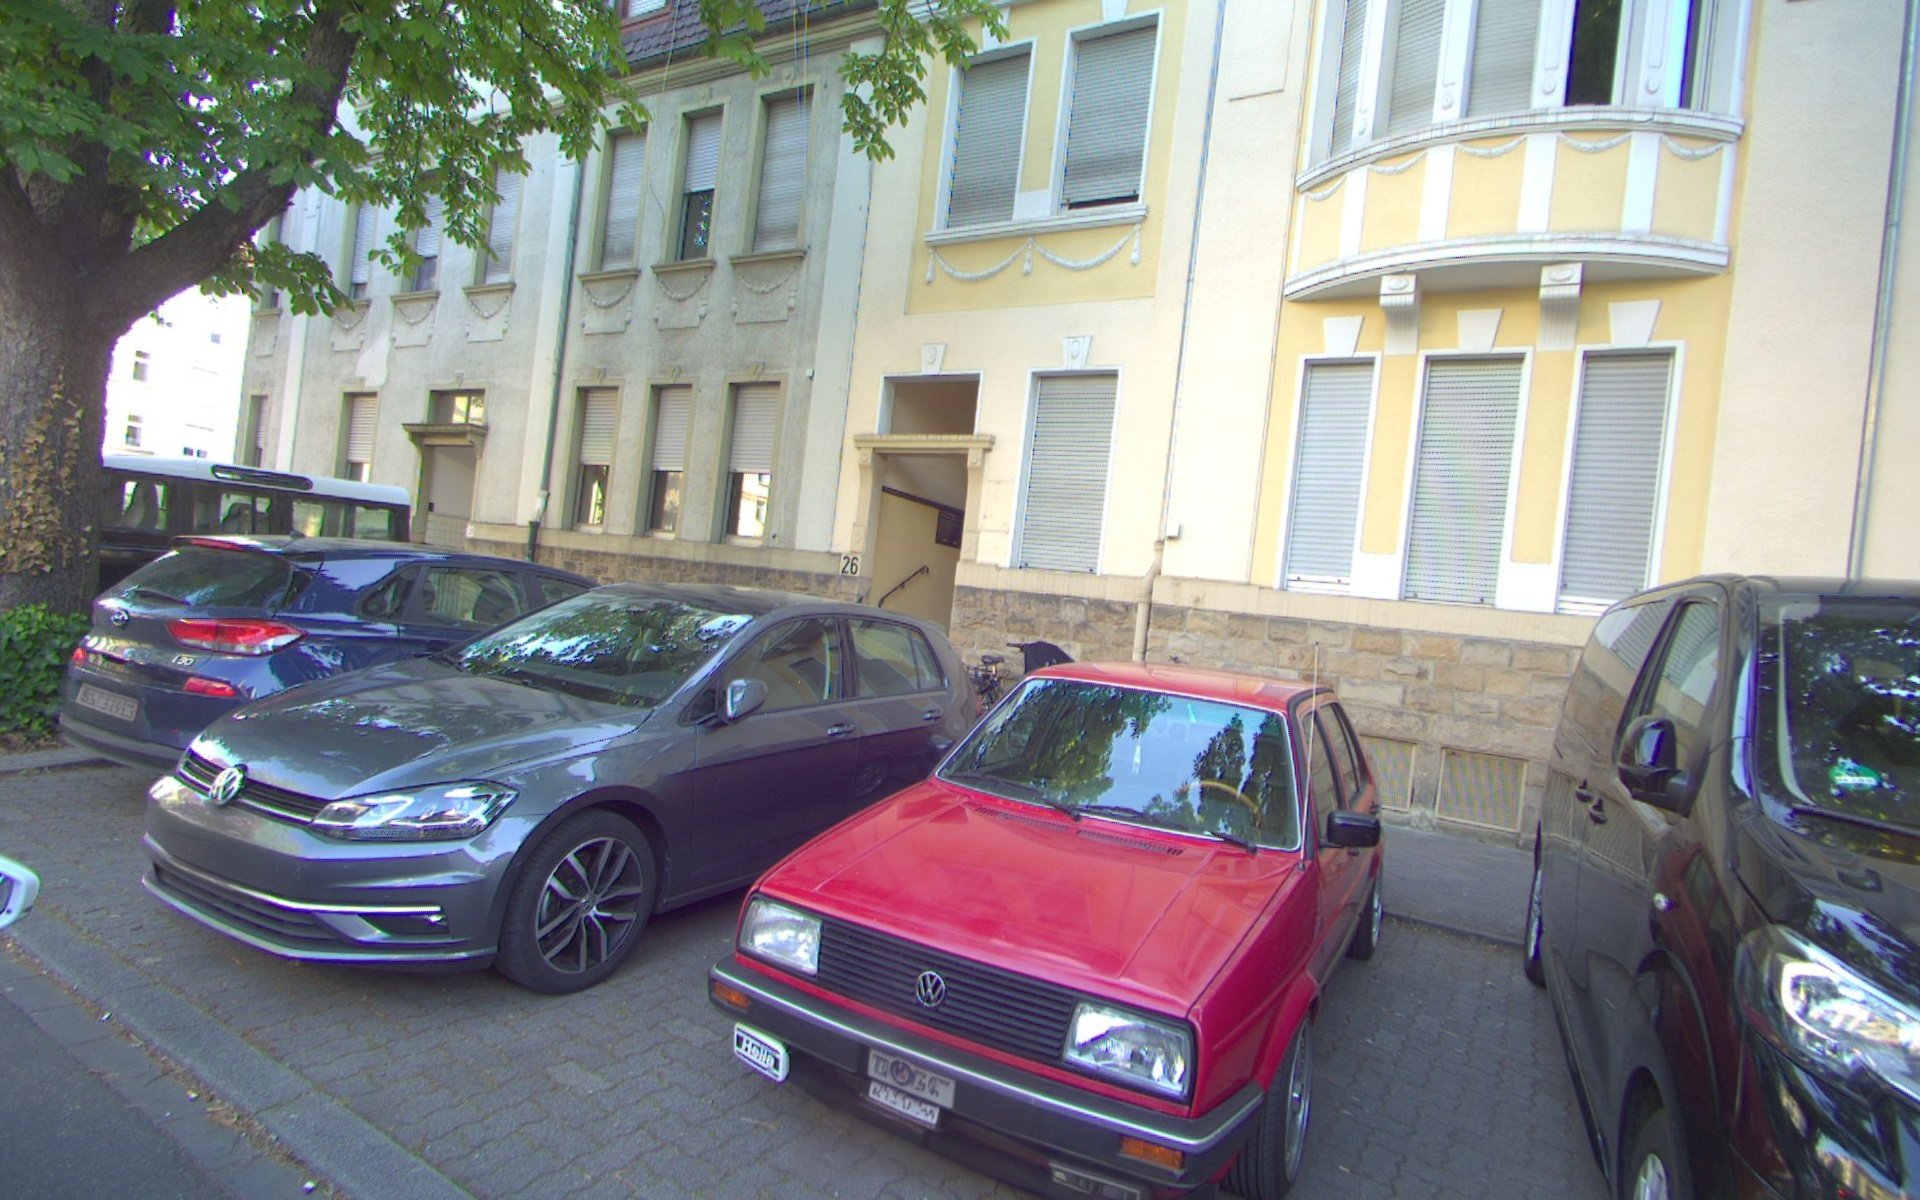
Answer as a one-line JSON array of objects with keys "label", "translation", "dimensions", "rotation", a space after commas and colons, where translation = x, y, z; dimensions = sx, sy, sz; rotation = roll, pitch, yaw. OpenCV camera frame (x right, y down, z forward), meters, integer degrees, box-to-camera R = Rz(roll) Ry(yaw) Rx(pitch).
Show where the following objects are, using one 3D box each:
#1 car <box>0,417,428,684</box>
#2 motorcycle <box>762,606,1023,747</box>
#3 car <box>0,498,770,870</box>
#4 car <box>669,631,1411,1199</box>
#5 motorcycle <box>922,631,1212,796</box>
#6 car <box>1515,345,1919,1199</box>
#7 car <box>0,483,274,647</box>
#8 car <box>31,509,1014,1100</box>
[{"label": "car", "translation": [-7.585, -0.382, 9.242], "dimensions": [1.671, 2.061, 4.473], "rotation": [6, 0, 28]}, {"label": "motorcycle", "translation": [-0.782, 0.760, 10.790], "dimensions": [2.822, 1.087, 0.694], "rotation": [7, 2, 31]}, {"label": "car", "translation": [-3.079, 0.417, 6.205], "dimensions": [1.679, 1.470, 3.730], "rotation": [6, 0, 28]}, {"label": "car", "translation": [0.881, 0.942, 4.310], "dimensions": [1.601, 1.332, 4.144], "rotation": [6, 0, 27]}, {"label": "motorcycle", "translation": [0.963, 0.984, 9.400], "dimensions": [2.439, 1.087, 0.959], "rotation": [7, 2, 32]}, {"label": "car", "translation": [2.858, 0.868, 2.882], "dimensions": [1.864, 1.898, 4.759], "rotation": [6, 0, 27]}, {"label": "car", "translation": [-9.979, -0.403, 10.943], "dimensions": [1.679, 1.589, 3.730], "rotation": [6, 0, 28]}, {"label": "car", "translation": [-1.426, 0.616, 4.822], "dimensions": [1.693, 1.470, 4.060], "rotation": [6, 0, 28]}]
